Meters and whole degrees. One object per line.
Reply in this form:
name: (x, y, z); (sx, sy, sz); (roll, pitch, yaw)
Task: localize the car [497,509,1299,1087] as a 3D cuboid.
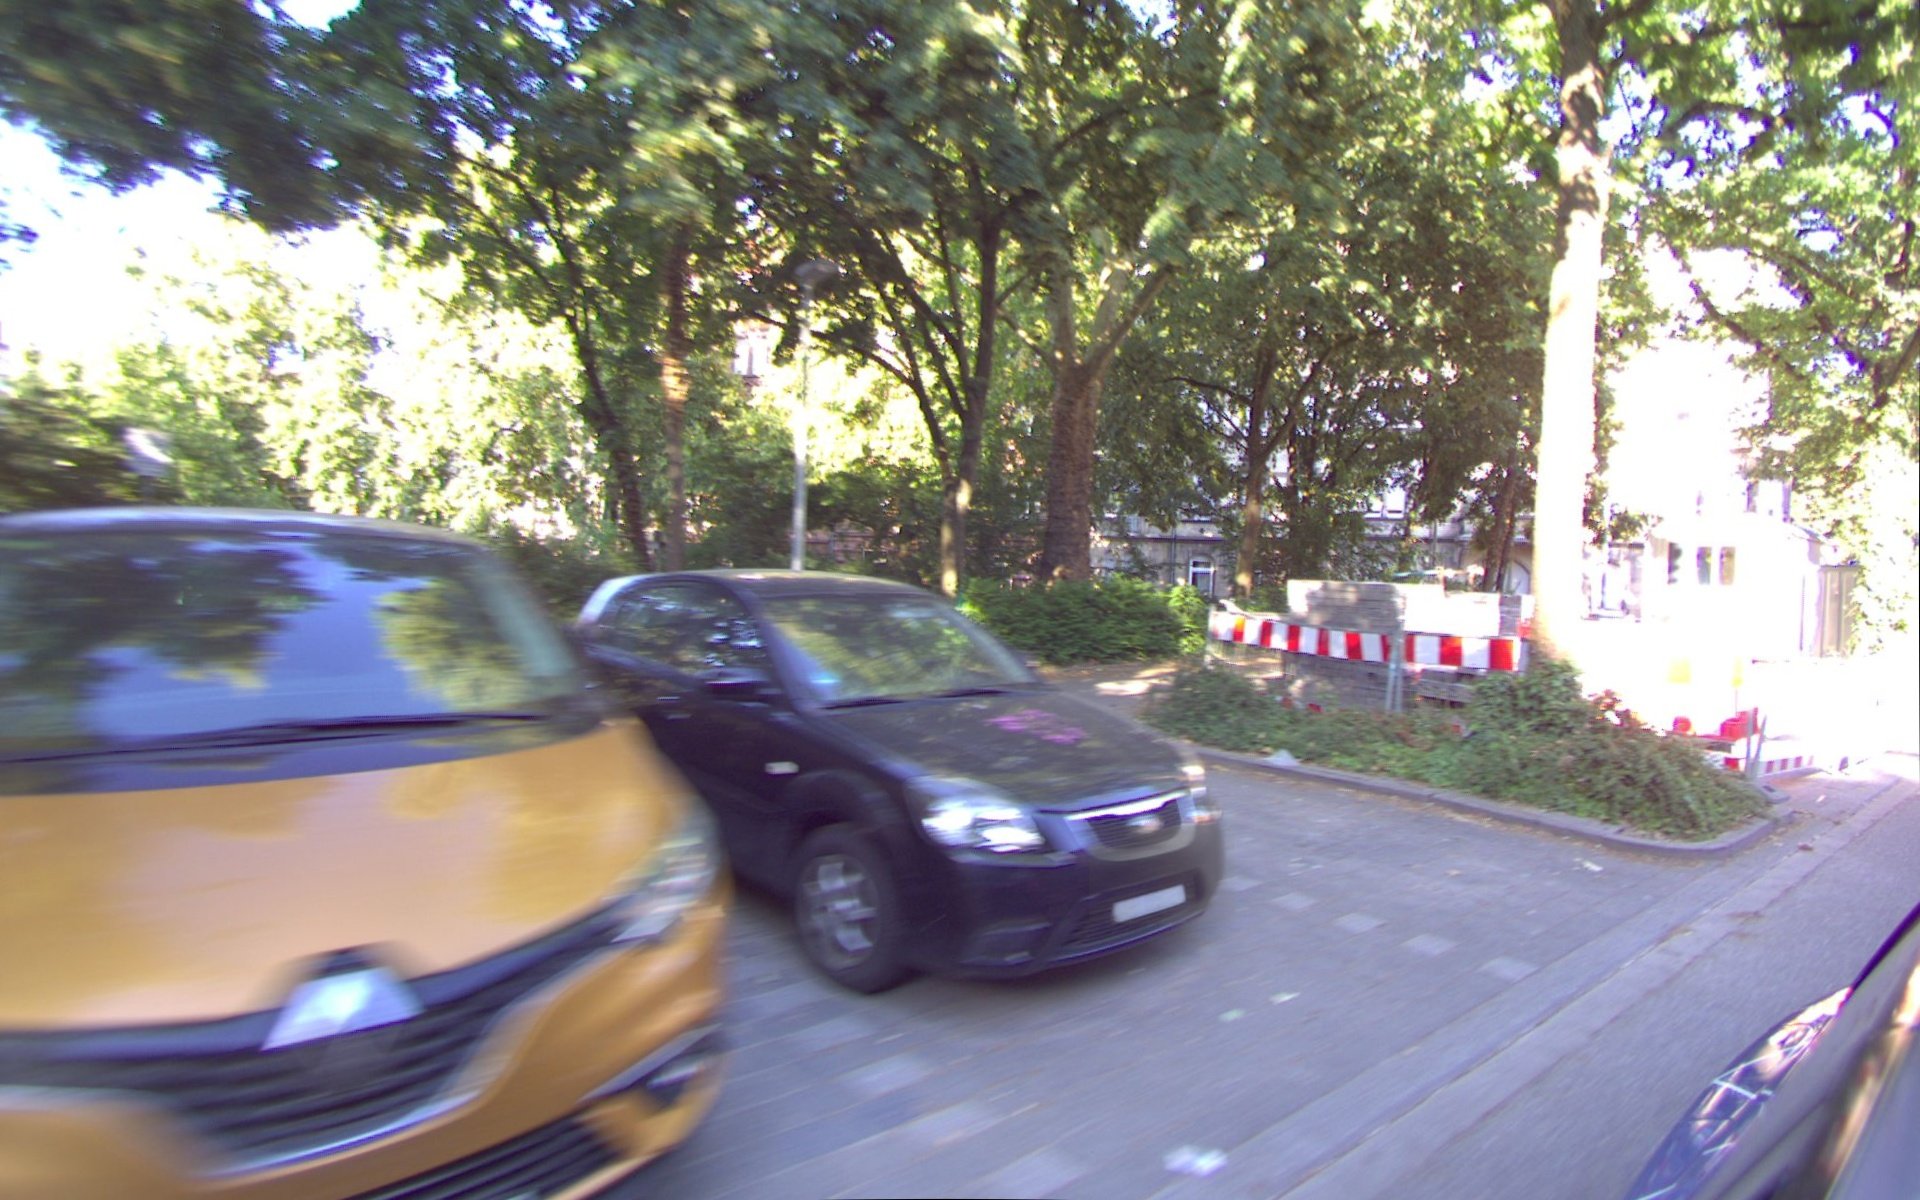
car: (-0.625, 0.548, 4.951); (1.769, 1.648, 3.990); (0, 0, -44)

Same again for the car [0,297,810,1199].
car: (-2.191, 0.478, 3.118); (1.765, 1.780, 3.999); (0, 0, -36)
